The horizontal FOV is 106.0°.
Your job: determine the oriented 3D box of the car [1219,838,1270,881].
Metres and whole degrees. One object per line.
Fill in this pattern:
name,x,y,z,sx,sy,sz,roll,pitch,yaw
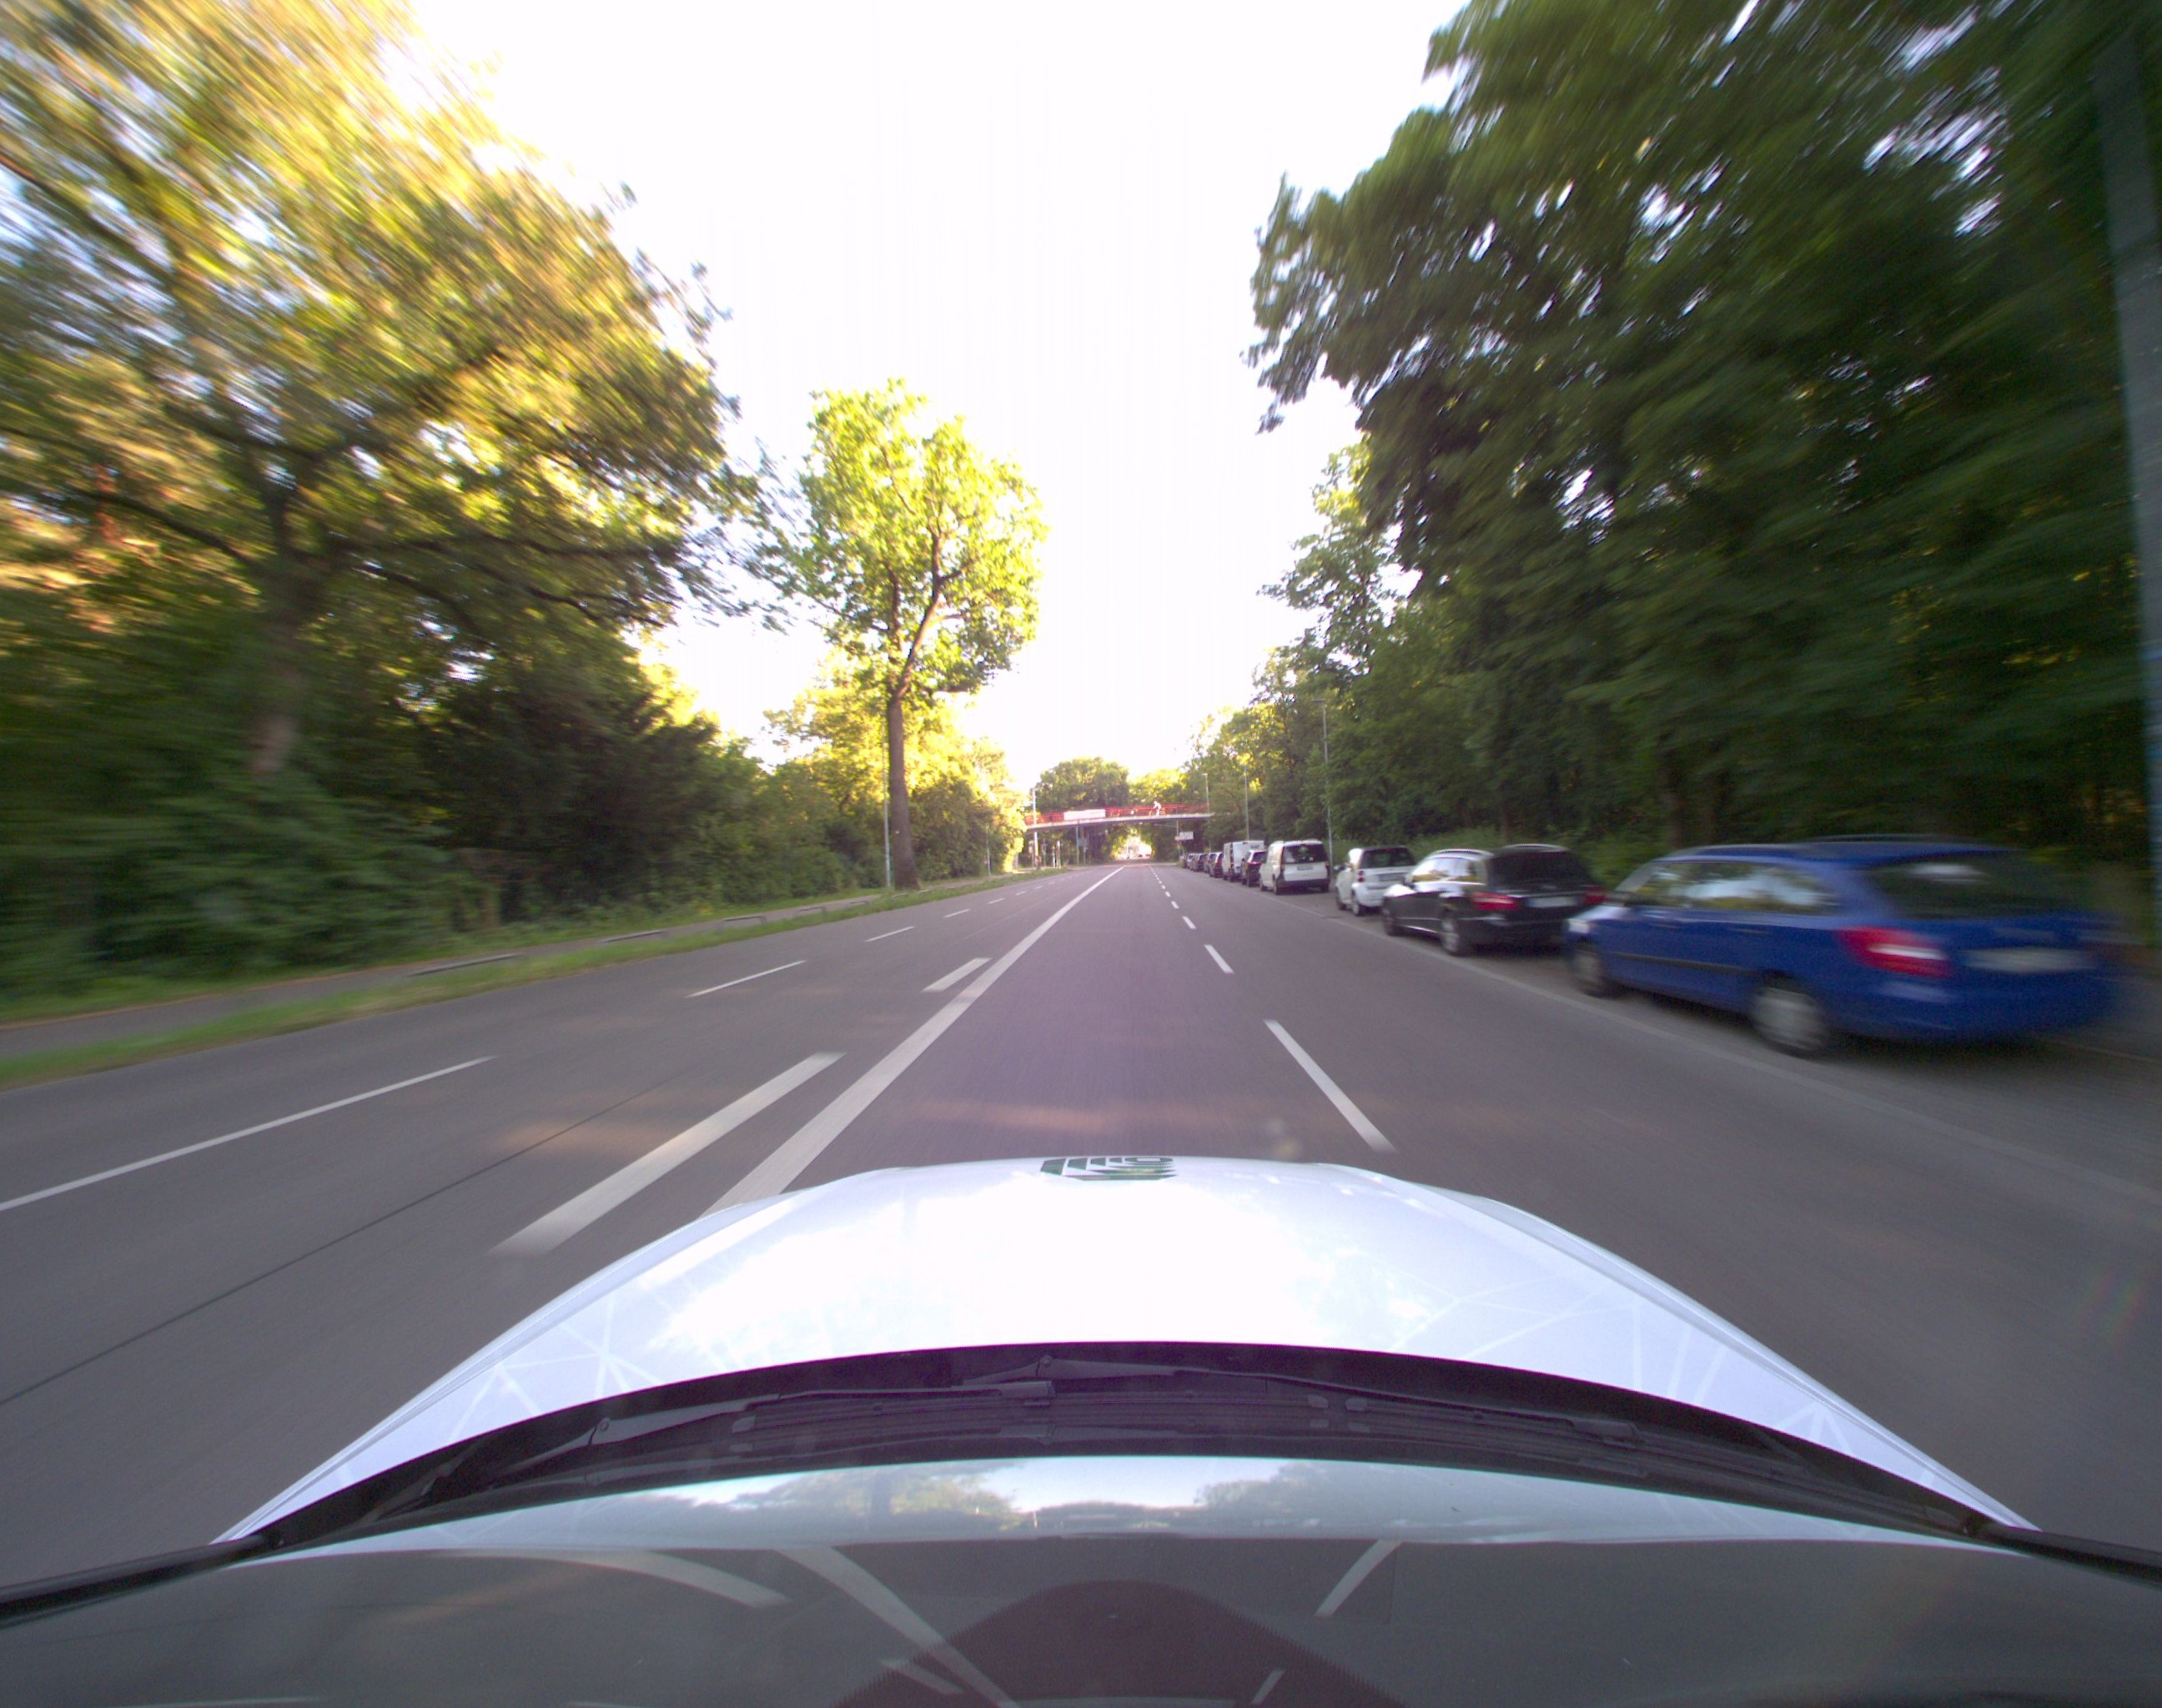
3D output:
car,8.338,0.297,41.985,1.860,1.981,5.481,-3,-1,4

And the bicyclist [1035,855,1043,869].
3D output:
bicyclist,-4.537,0.873,88.739,0.709,1.559,1.144,-1,-1,4

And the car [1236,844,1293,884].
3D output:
car,7.960,0.436,35.663,1.751,1.547,4.434,-3,-1,4

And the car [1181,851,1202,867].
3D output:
car,11.111,0.483,82.047,1.766,1.453,4.393,-3,-1,5

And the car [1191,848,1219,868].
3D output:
car,9.811,0.346,64.741,1.630,1.453,4.901,-3,-1,3

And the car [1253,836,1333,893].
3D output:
car,7.525,0.374,29.344,1.752,1.804,4.740,-3,-1,3

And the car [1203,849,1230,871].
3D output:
car,9.677,0.412,58.366,1.578,1.453,3.948,-3,-1,5

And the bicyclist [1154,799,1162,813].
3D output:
bicyclist,9.150,-5.683,96.728,0.966,1.586,0.715,-1,-1,2

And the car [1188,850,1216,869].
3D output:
car,10.388,0.490,70.155,1.767,1.453,5.041,-3,-1,3

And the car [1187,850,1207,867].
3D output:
car,11.014,0.437,77.630,1.765,1.453,4.022,-3,-1,7

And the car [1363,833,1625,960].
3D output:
car,6.109,0.566,12.848,1.752,1.535,4.992,-3,-1,3

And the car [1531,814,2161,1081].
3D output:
car,5.892,0.582,7.078,1.671,1.535,4.356,-3,-1,3

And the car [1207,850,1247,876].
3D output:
car,8.657,0.510,48.574,1.860,1.406,4.374,-3,-1,4

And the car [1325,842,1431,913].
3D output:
car,7.005,0.533,19.500,1.578,1.495,3.185,-3,-1,5

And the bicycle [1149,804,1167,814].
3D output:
bicycle,9.143,-5.355,96.731,1.979,1.147,0.715,-1,-1,2

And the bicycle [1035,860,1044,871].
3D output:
bicycle,-4.532,1.256,88.732,0.709,1.147,1.995,-1,-1,4
